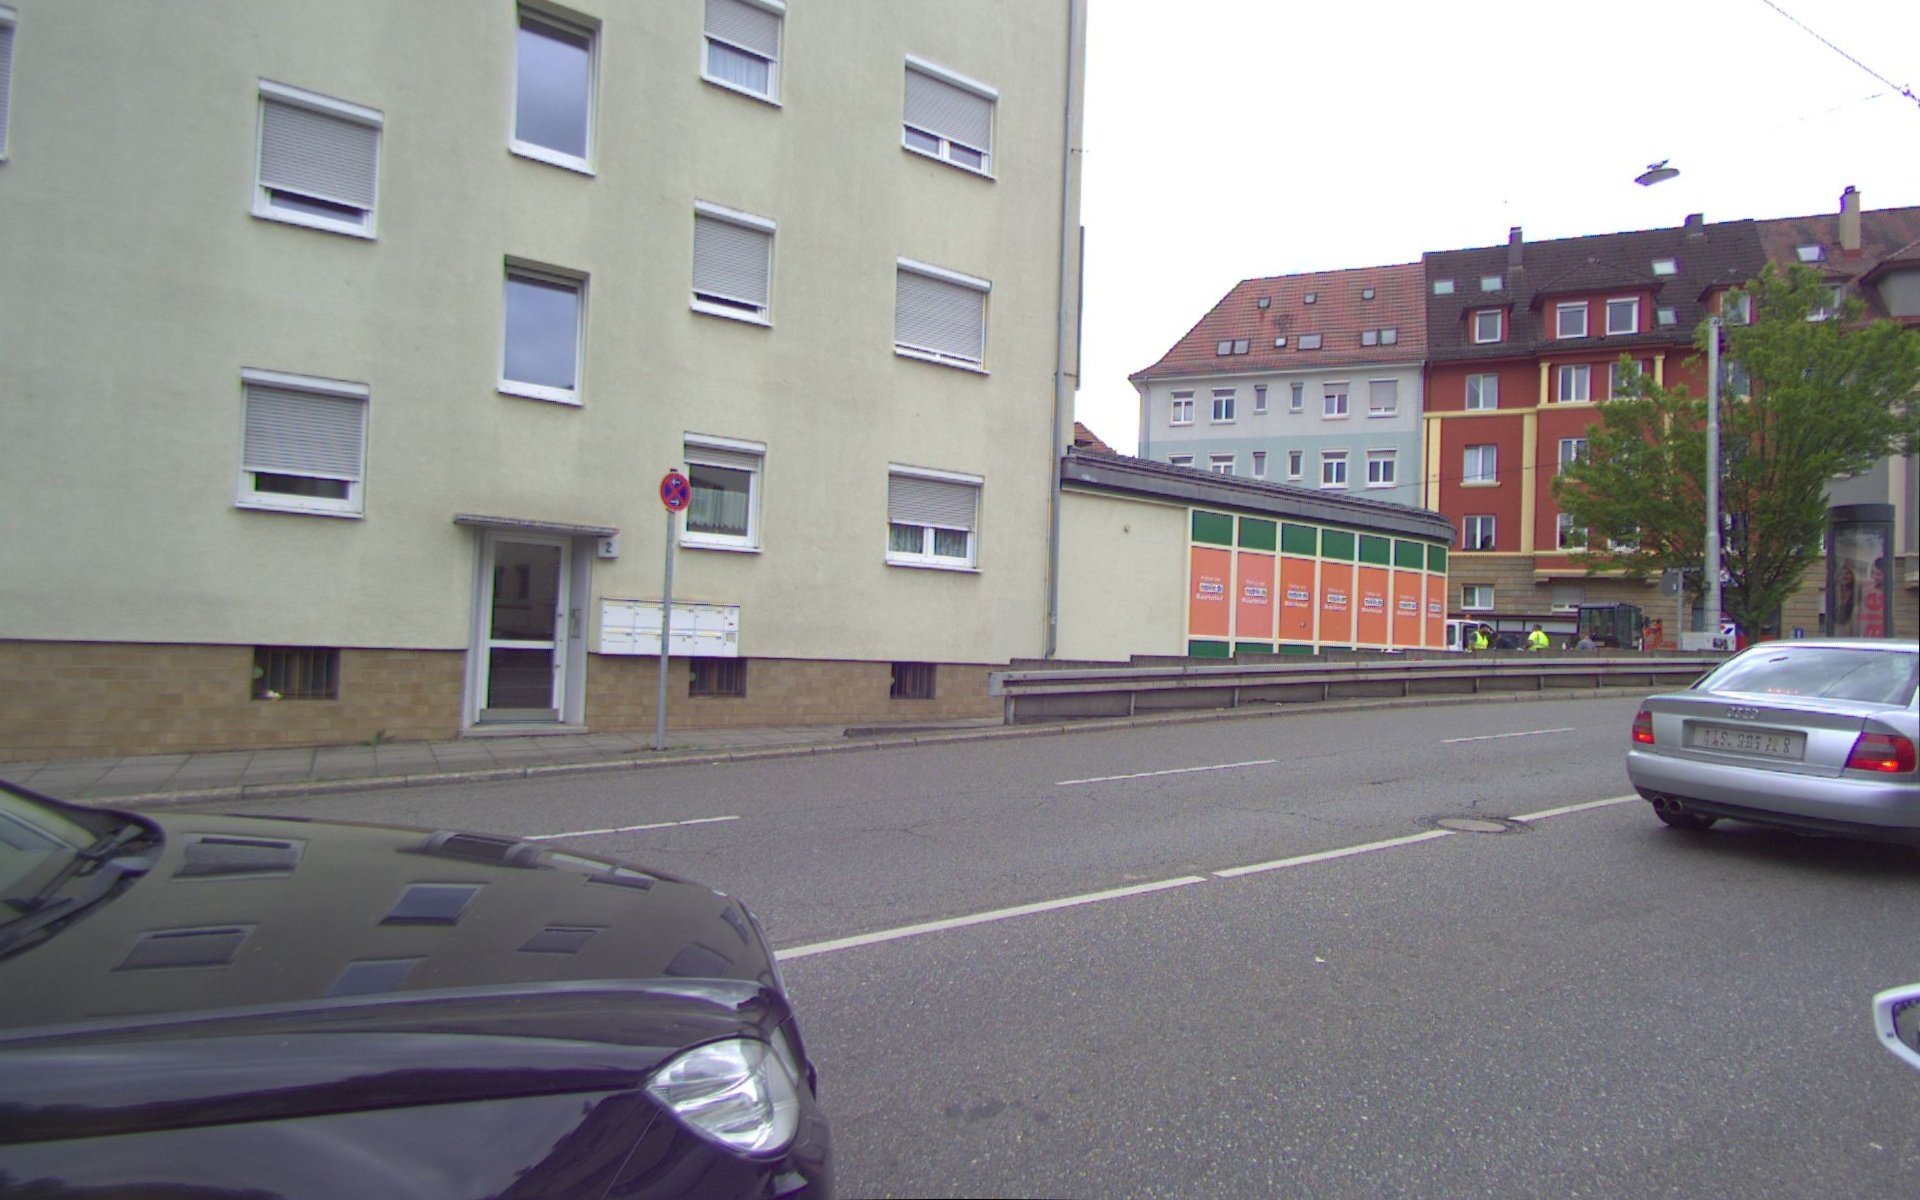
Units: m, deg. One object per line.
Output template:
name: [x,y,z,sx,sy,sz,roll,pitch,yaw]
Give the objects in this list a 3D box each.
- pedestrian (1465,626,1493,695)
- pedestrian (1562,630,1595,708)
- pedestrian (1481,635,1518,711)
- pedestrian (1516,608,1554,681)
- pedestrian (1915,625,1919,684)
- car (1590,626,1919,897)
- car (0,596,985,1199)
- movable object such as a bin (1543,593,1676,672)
pedestrian: [13.613,1.566,26.356,0.467,1.753,0.543,2,1,14]
pedestrian: [14.371,1.590,23.352,0.533,1.753,0.593,3,1,26]
pedestrian: [12.672,1.711,23.590,0.539,1.722,0.557,1,1,-41]
pedestrian: [14.437,1.119,25.224,0.613,1.785,0.566,1,1,-39]
pedestrian: [26.141,1.479,26.954,0.480,1.588,0.586,2,1,-30]
car: [6.547,0.906,7.025,4.121,1.391,1.691,0,0,-25]
car: [-2.282,0.713,1.275,4.396,1.473,1.738,2,-1,-32]
movable object such as a bin: [16.447,0.788,25.359,3.972,1.795,1.884,2,1,-43]
